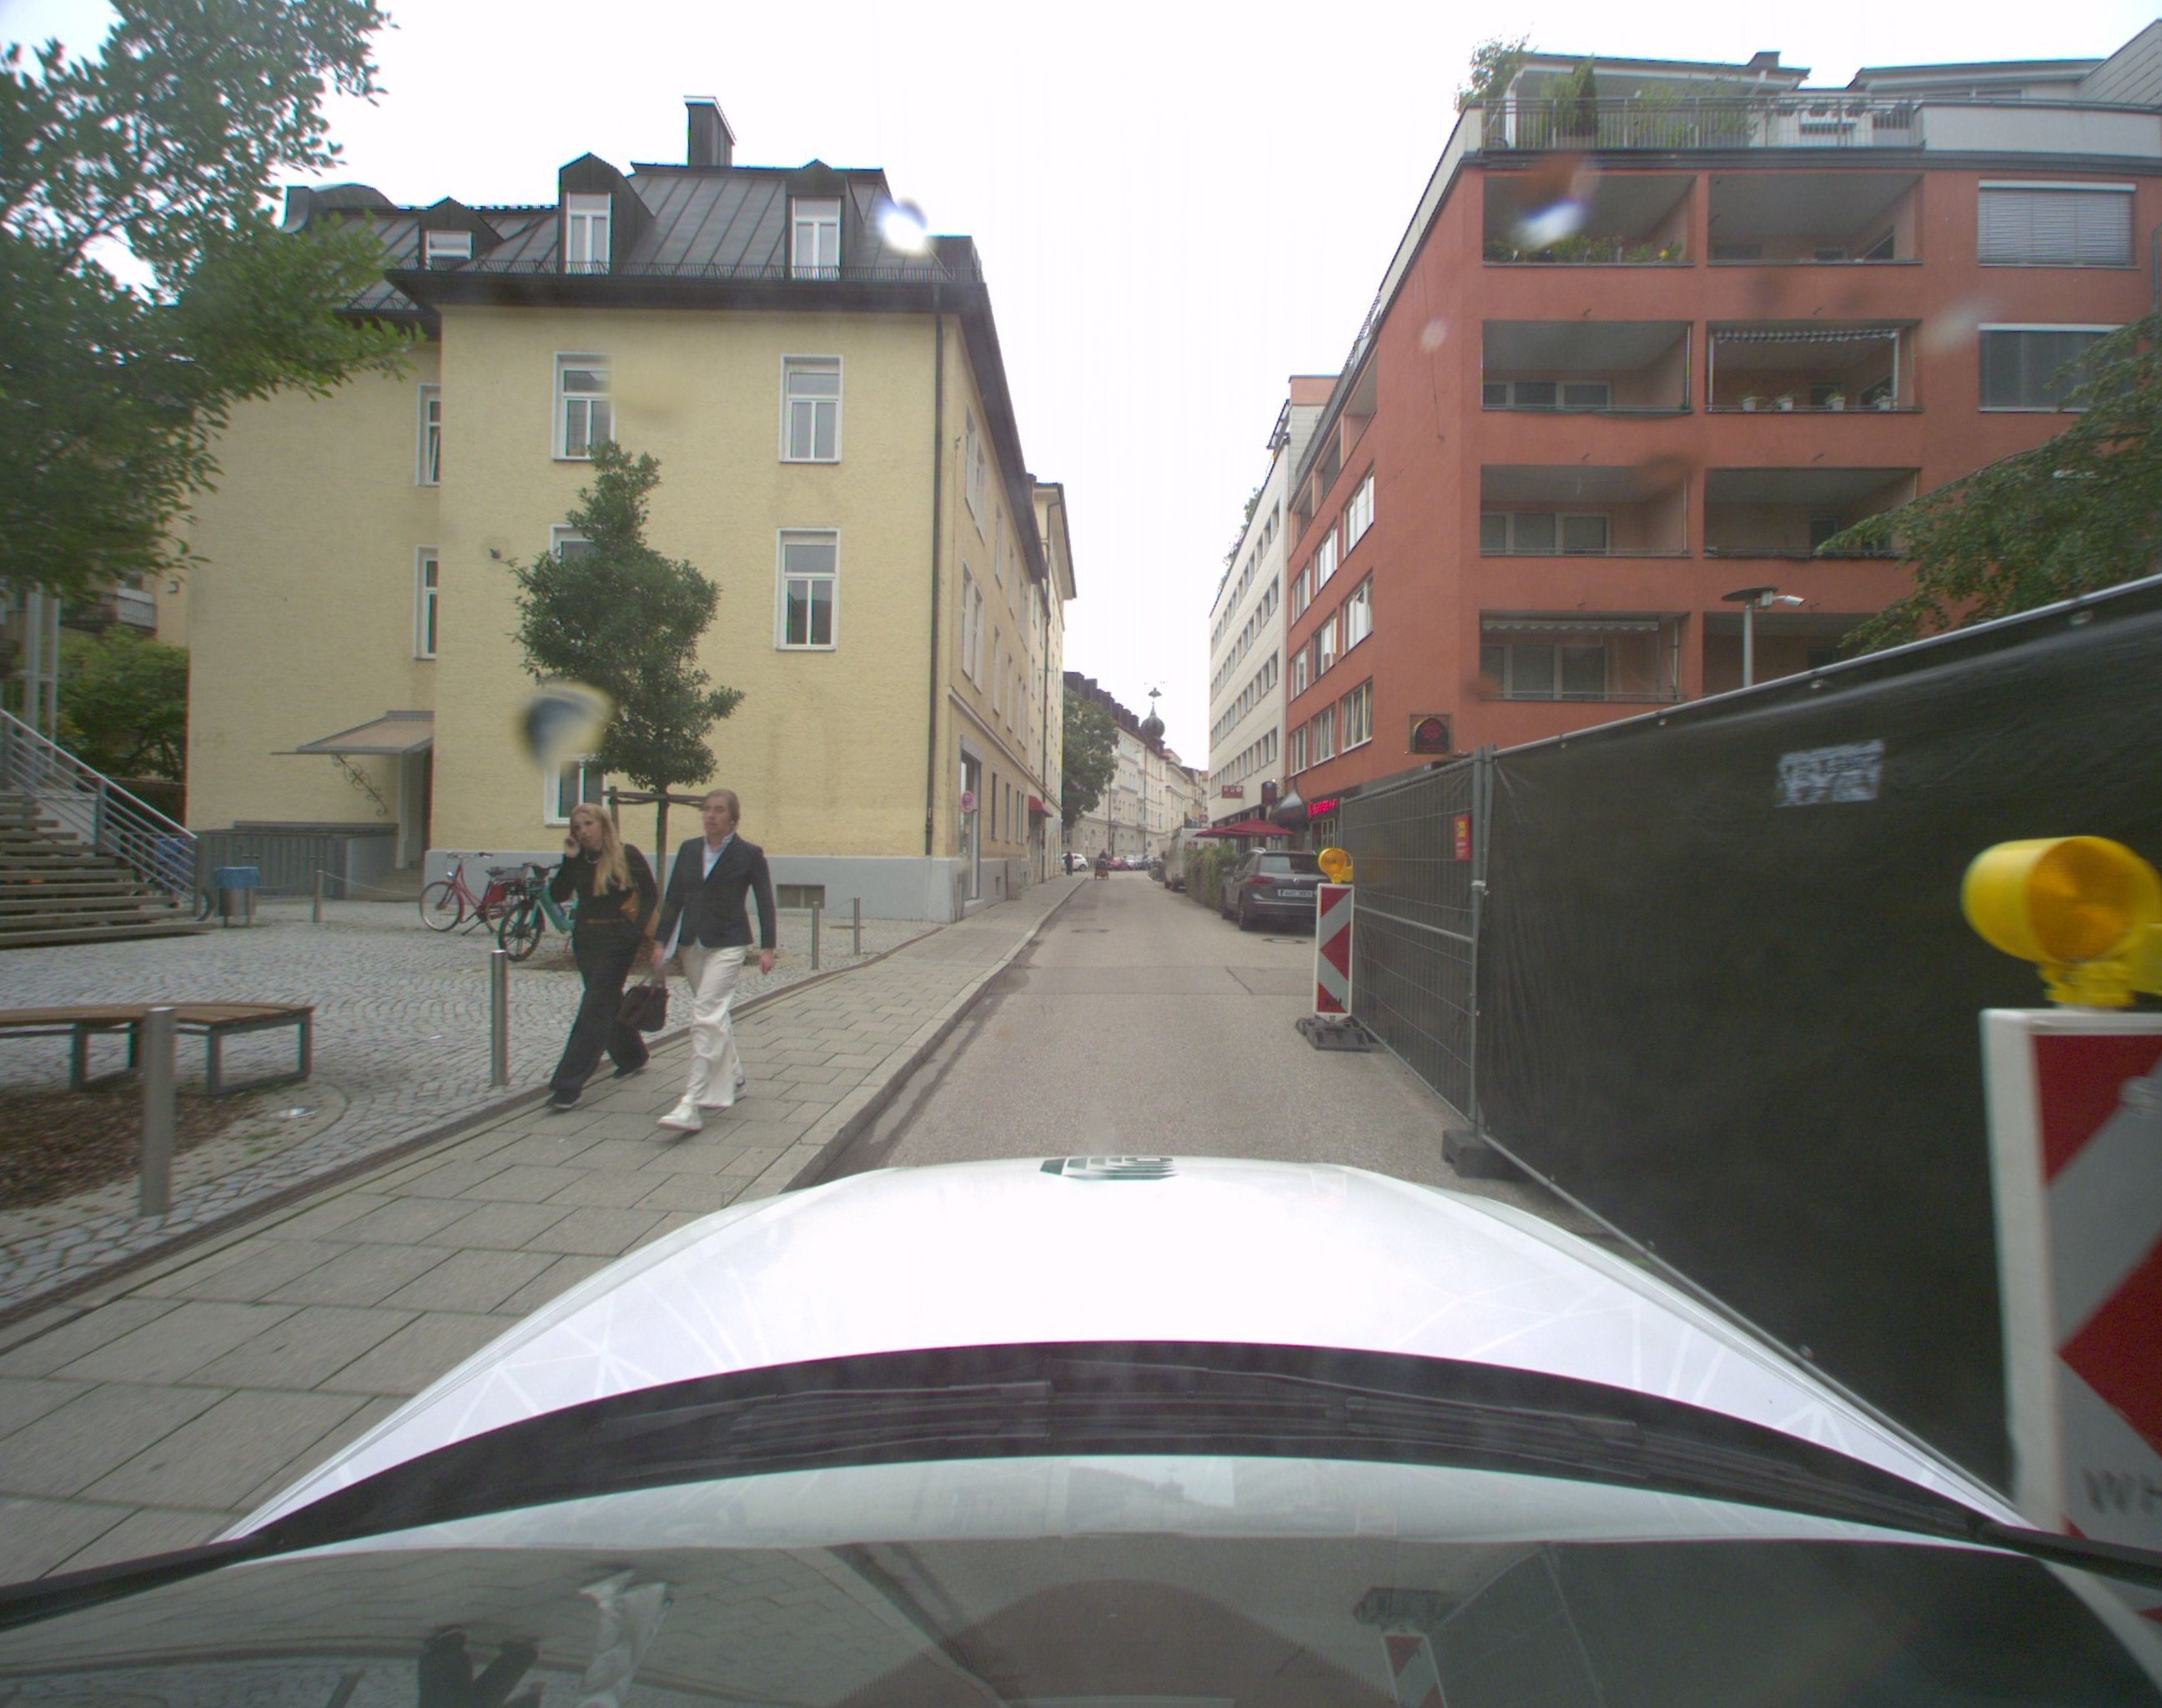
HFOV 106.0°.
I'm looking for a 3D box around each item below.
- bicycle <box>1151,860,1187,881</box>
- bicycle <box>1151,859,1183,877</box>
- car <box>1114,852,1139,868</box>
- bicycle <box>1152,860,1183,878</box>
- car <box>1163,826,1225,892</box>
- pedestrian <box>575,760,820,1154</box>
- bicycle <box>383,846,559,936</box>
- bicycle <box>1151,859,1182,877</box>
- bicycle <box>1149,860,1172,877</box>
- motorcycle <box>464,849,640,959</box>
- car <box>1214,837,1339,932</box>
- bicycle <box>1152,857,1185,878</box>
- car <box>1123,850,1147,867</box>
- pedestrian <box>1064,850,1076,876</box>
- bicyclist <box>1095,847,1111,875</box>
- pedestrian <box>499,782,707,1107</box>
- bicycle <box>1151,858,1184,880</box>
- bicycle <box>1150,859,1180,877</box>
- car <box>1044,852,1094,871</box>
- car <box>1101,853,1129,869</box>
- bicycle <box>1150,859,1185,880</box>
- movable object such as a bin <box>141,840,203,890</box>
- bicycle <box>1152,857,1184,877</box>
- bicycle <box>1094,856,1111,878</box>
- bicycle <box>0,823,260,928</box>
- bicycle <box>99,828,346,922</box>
[{"bbox_3d":[4.883,0.928,45.259,1.868,1.079,0.488,3,1,-1],"label":"bicycle"},{"bbox_3d":[5.182,0.848,49.261,1.868,1.095,0.440,1,1,-2],"label":"bicycle"},{"bbox_3d":[4.470,0.596,79.497,1.981,1.473,4.231,1,0,10],"label":"car"},{"bbox_3d":[5.305,0.921,49.961,1.868,1.052,0.564,1,-2,-2],"label":"bicycle"},{"bbox_3d":[4.728,0.188,34.877,1.913,2.506,5.998,2,0,1],"label":"car"},{"bbox_3d":[-1.962,0.484,4.328,0.773,1.836,0.992,1,-1,1],"label":"pedestrian"},{"bbox_3d":[-8.622,0.503,11.556,1.964,1.173,0.749,2,-1,6],"label":"bicycle"},{"bbox_3d":[5.293,0.867,50.660,1.868,1.079,0.402,1,1,-2],"label":"bicycle"},{"bbox_3d":[5.223,0.931,53.577,1.449,1.069,0.462,1,0,-6],"label":"bicycle"},{"bbox_3d":[-6.258,0.551,9.795,0.573,1.173,1.985,2,-1,7],"label":"motorcycle"},{"bbox_3d":[3.989,0.568,17.353,1.816,1.710,4.393,2,0,3],"label":"car"},{"bbox_3d":[5.166,0.781,48.090,1.868,1.204,0.579,0,0,-1],"label":"bicycle"},{"bbox_3d":[5.630,0.465,84.601,1.930,1.702,4.013,1,0,12],"label":"car"},{"bbox_3d":[-0.725,0.580,52.712,0.690,1.632,0.663,2,0,1],"label":"pedestrian"},{"bbox_3d":[1.326,0.425,49.703,0.923,1.721,1.100,0,0,3],"label":"bicyclist"},{"bbox_3d":[-2.687,0.464,4.687,0.550,1.660,0.998,1,0,2],"label":"pedestrian"},{"bbox_3d":[4.956,0.837,46.680,1.868,1.204,0.488,1,1,-1],"label":"bicycle"},{"bbox_3d":[5.274,0.878,51.100,1.868,1.079,0.408,1,1,-2],"label":"bicycle"},{"bbox_3d":[-0.992,0.612,66.211,3.762,1.578,1.991,0,-1,-13],"label":"car"},{"bbox_3d":[3.191,0.640,74.632,1.718,1.378,4.242,1,0,14],"label":"car"},{"bbox_3d":[4.908,0.890,46.161,1.868,1.108,0.488,2,1,-1],"label":"bicycle"},{"bbox_3d":[-18.314,0.211,16.423,0.475,0.971,0.650,2,0,6],"label":"movable object such as a bin"},{"bbox_3d":[5.193,0.787,48.690,1.887,1.170,0.565,0,0,-1],"label":"bicycle"},{"bbox_3d":[1.306,0.788,49.350,0.928,1.257,2.415,0,-1,3],"label":"bicycle"},{"bbox_3d":[-12.978,0.262,10.890,3.212,1.251,0.767,2,0,1],"label":"bicycle"},{"bbox_3d":[-12.655,0.298,12.053,2.841,1.251,0.767,2,0,1],"label":"bicycle"}]
